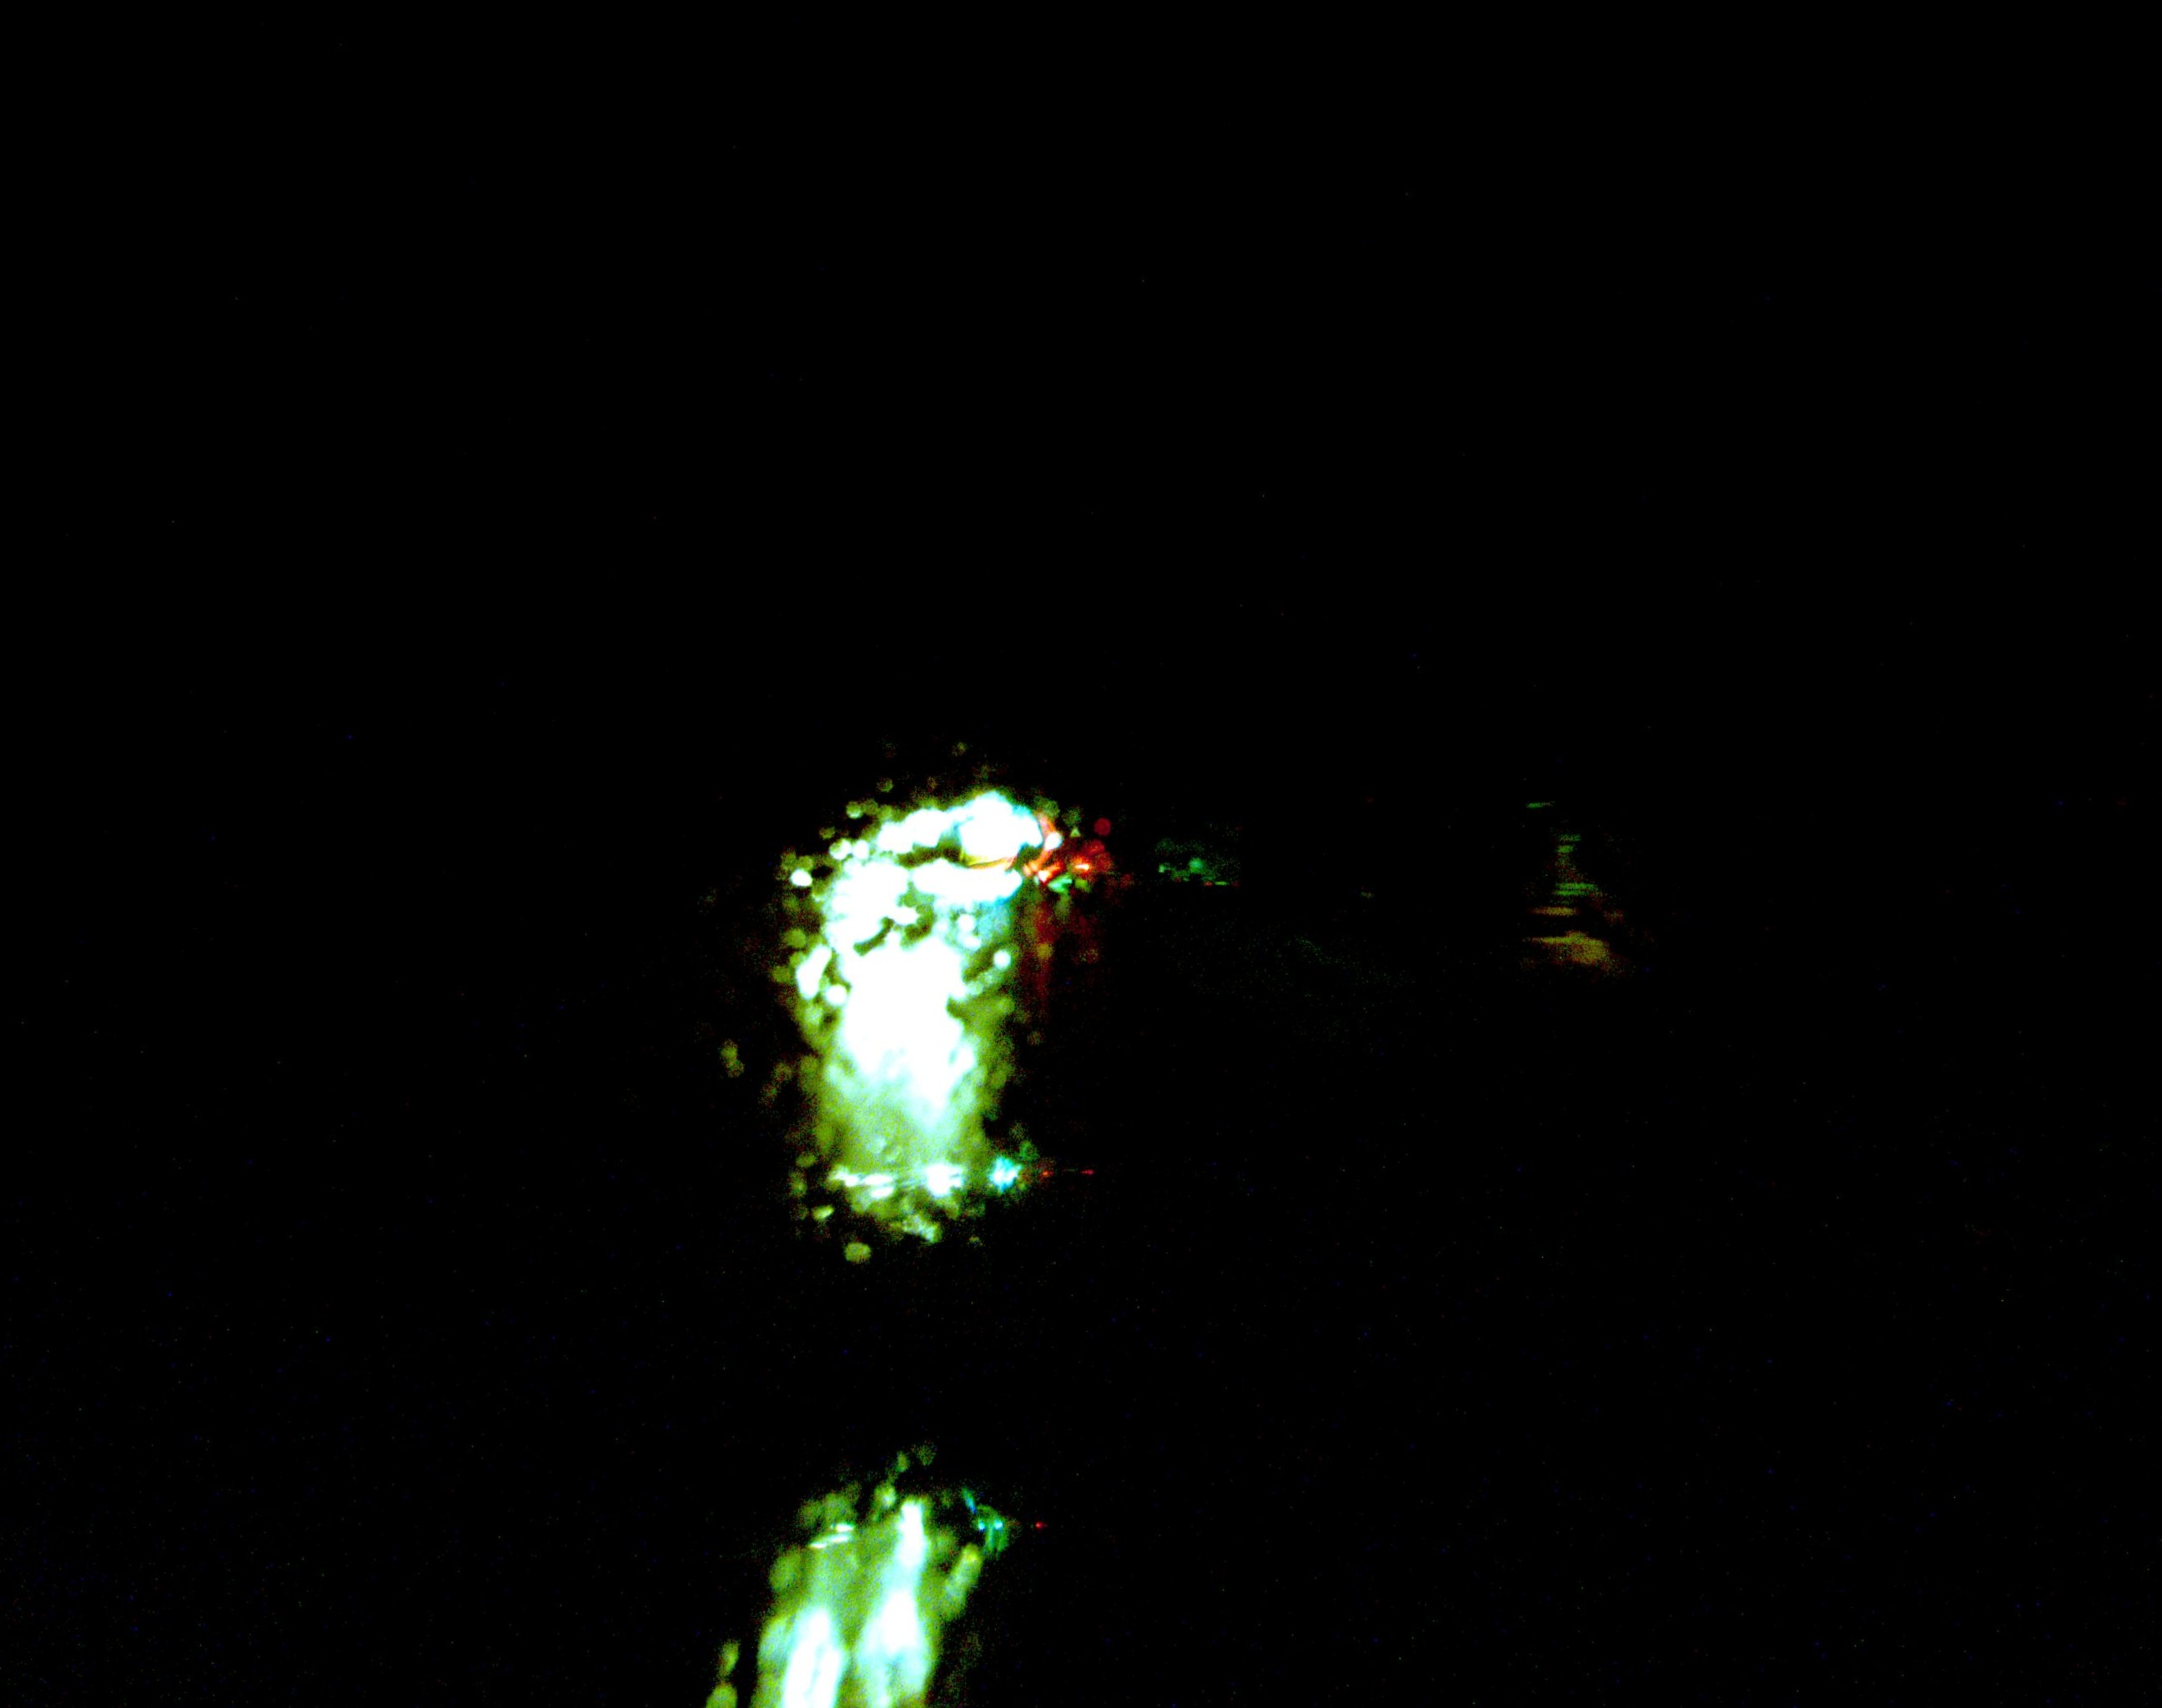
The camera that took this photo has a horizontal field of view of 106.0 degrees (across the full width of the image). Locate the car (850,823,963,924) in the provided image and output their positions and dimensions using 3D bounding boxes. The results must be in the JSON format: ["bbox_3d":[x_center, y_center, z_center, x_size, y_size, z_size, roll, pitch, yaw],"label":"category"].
[{"bbox_3d":[-3.957,0.409,19.239,1.915,2.057,4.880,1,0,-4],"label":"car"}]

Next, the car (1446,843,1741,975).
[{"bbox_3d":[8.106,0.775,13.430,1.877,1.809,4.144,2,0,-8],"label":"car"}]

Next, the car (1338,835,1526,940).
[{"bbox_3d":[7.637,0.673,18.260,1.877,2.040,4.379,2,0,-8],"label":"car"}]

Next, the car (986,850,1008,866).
[{"bbox_3d":[-8.022,0.373,77.903,1.990,1.460,4.890,-1,0,-4],"label":"car"}]

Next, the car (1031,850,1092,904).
[{"bbox_3d":[-0.718,0.715,26.922,1.798,1.628,3.609,1,0,-5],"label":"car"}]

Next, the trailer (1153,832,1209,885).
[{"bbox_3d":[4.858,0.211,40.124,1.628,2.364,4.643,3,0,-6],"label":"trailer"}]

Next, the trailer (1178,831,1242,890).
[{"bbox_3d":[5.523,0.253,35.337,1.603,2.352,4.423,3,0,-5],"label":"trailer"}]
